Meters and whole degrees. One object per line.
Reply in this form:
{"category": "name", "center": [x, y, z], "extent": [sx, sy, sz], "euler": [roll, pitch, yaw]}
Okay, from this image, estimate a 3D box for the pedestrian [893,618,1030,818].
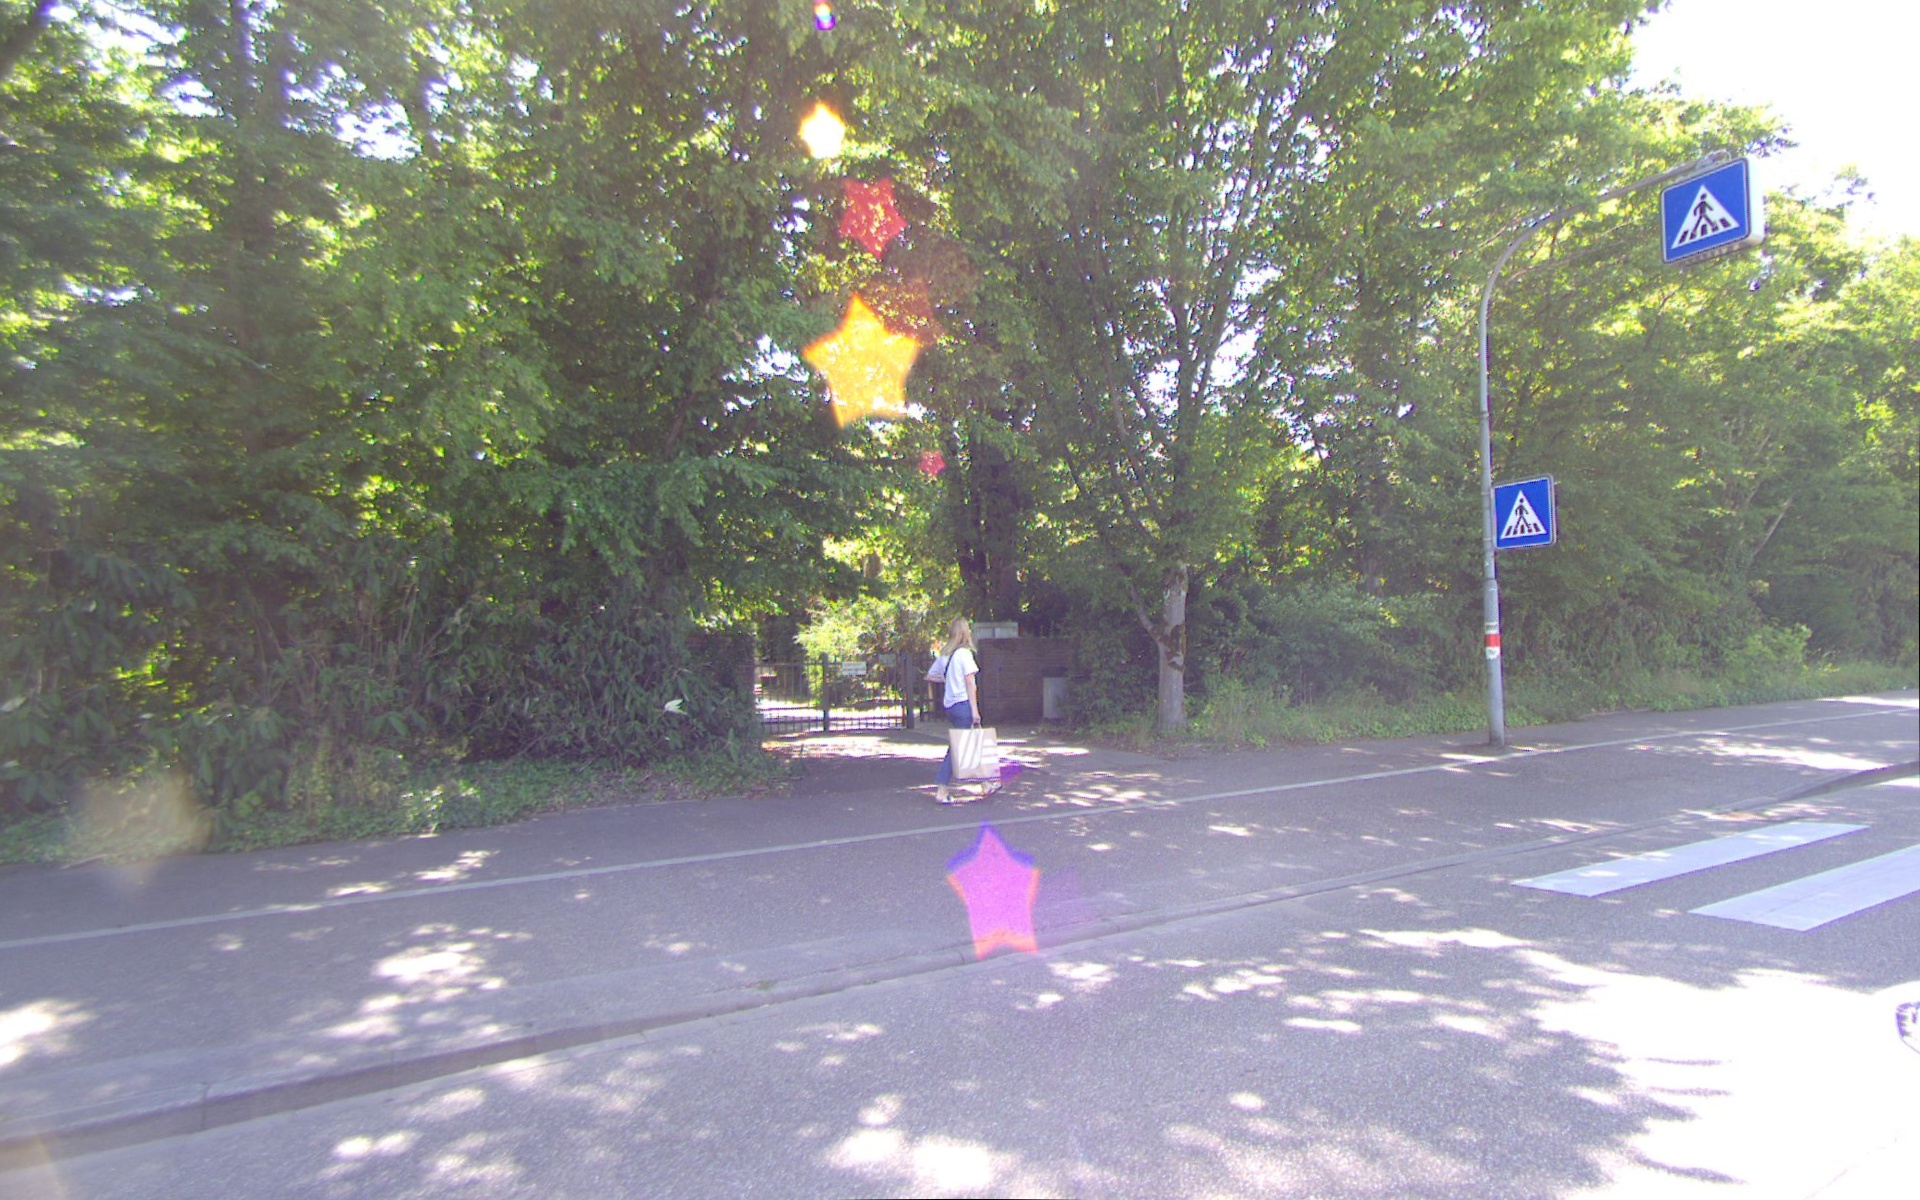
{"category": "pedestrian", "center": [0.000, 0.986, 8.909], "extent": [0.875, 1.634, 0.927], "euler": [0, 0, -30]}
